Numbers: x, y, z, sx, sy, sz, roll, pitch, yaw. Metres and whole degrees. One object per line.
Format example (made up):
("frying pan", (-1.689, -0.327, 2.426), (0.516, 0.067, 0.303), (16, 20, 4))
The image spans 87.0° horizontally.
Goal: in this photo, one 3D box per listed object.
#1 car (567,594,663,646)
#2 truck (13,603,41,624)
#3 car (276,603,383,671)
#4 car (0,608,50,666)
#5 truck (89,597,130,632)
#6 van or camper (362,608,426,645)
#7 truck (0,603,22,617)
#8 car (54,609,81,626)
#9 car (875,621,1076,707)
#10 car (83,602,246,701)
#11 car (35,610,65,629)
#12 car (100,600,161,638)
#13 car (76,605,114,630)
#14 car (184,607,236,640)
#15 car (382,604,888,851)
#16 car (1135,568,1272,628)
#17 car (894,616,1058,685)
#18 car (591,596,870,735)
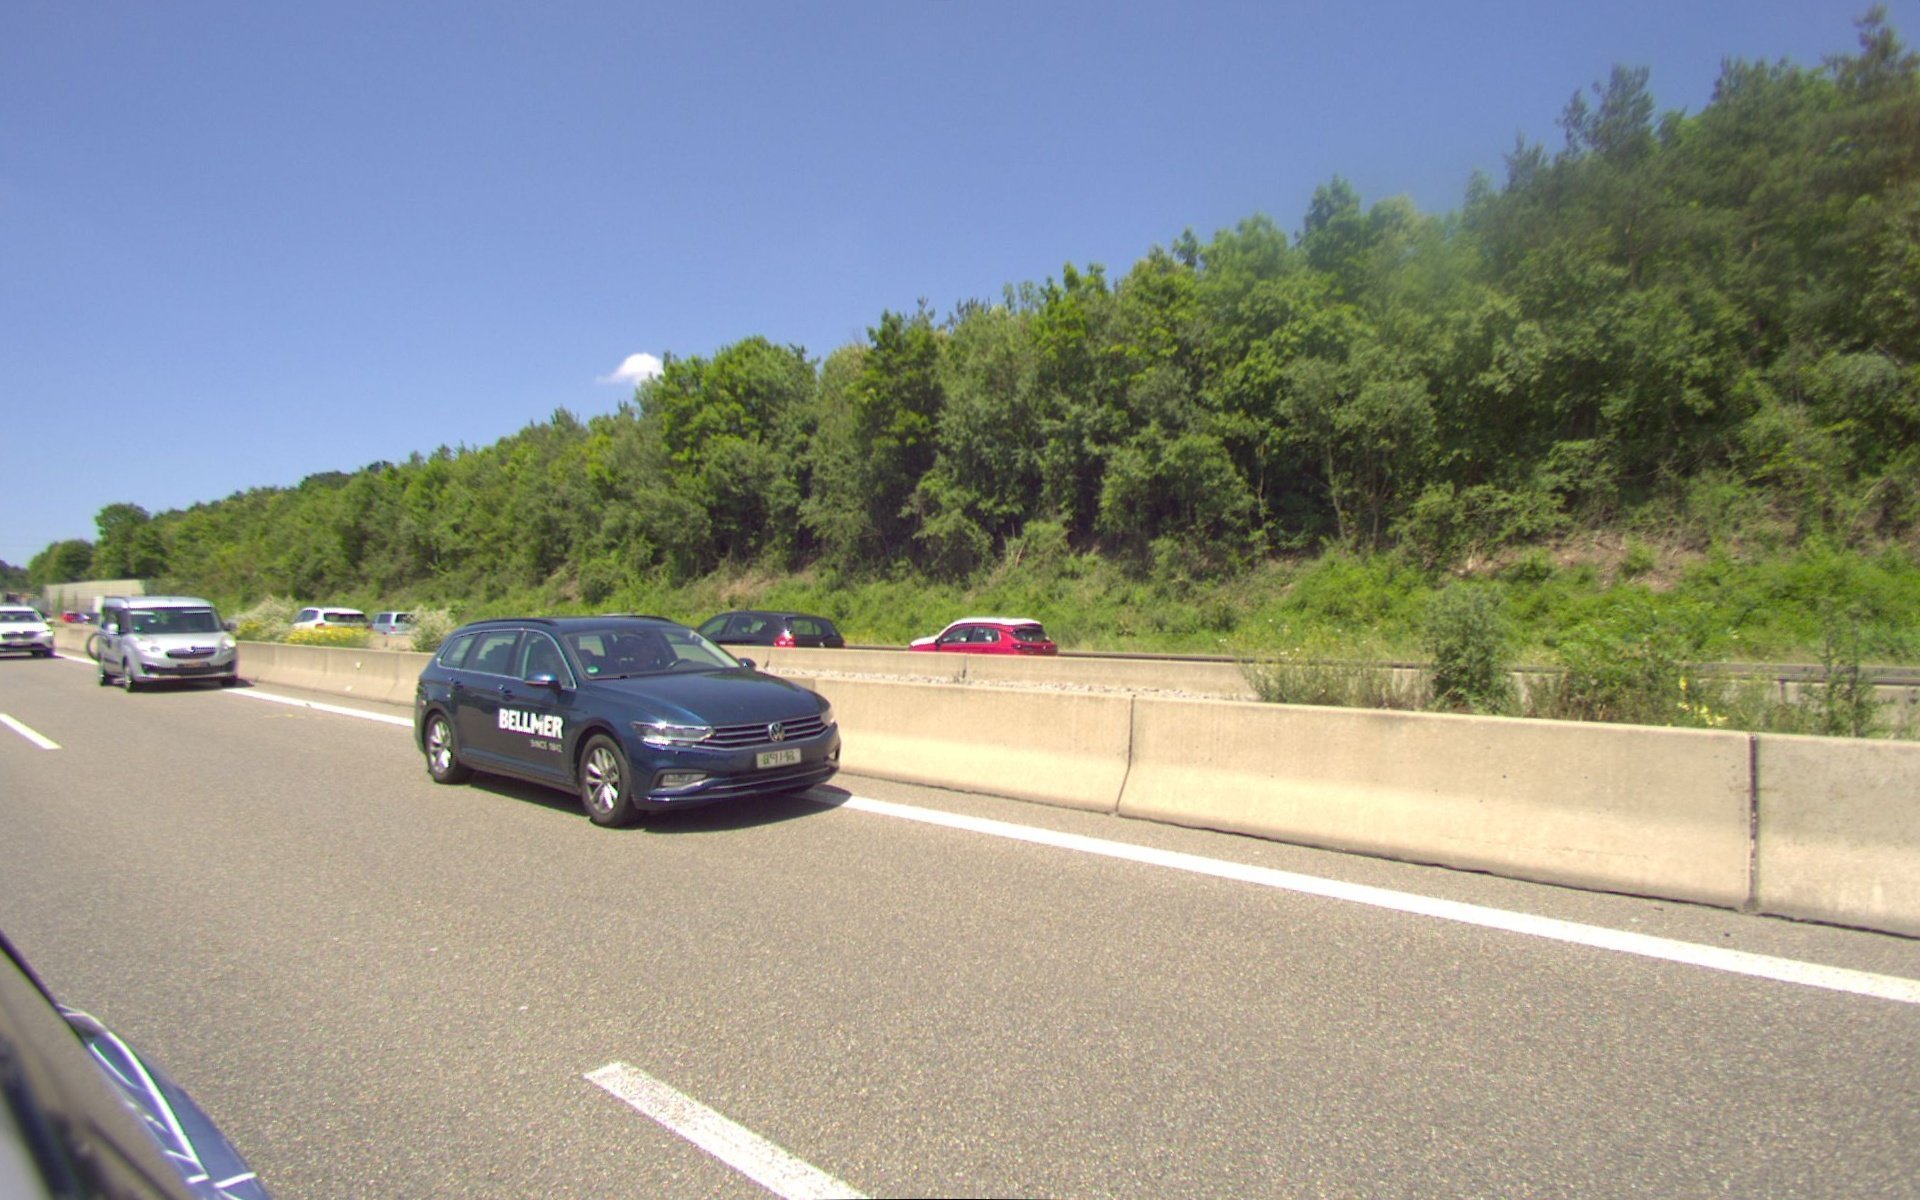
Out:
("car", (-14.300, 0.779, 41.852), (4.474, 2.029, 1.971), (0, 0, 44))
("truck", (-130.788, 1.853, 141.812), (6.739, 2.906, 2.155), (0, 0, 41))
("car", (-20.769, 1.141, 33.271), (4.349, 2.029, 1.971), (0, 0, 44))
("car", (-30.945, 1.160, 32.756), (3.999, 1.719, 1.800), (0, 0, 42))
("truck", (-101.534, 1.707, 120.712), (7.988, 4.019, 2.664), (0, 0, 42))
("van or camper", (-33.565, 1.526, 59.939), (4.680, 2.029, 1.972), (0, 0, 42))
("truck", (-150.131, 1.537, 159.687), (6.488, 2.029, 2.327), (0, 1, 41))
("car", (-102.943, 2.056, 116.761), (3.998, 1.962, 1.833), (-1, -1, 41))
("car", (0.284, 1.403, 23.619), (4.511, 1.705, 1.973), (0, 0, 41))
("car", (-16.447, 0.944, 20.820), (4.917, 1.786, 1.833), (0, 0, 42))
("car", (-94.657, 2.040, 105.268), (3.998, 1.962, 1.833), (-1, -1, 41))
("car", (-46.689, 1.035, 56.926), (4.191, 2.029, 1.973), (0, 0, 41))
("car", (-73.744, 1.428, 86.254), (3.999, 2.029, 1.972), (0, 0, 42))
("car", (-49.202, 1.480, 66.362), (4.282, 2.029, 1.972), (0, 0, 42))
("car", (-2.877, 0.767, 8.295), (4.676, 1.461, 1.854), (0, 0, 42))
("car", (8.758, -0.091, 36.554), (4.363, 2.029, 2.101), (0, 0, 42))
("car", (0.398, 1.364, 28.923), (4.511, 1.705, 1.973), (0, 0, 41))
("car", (-4.049, 0.947, 17.315), (5.151, 2.029, 1.973), (0, 0, 40))
